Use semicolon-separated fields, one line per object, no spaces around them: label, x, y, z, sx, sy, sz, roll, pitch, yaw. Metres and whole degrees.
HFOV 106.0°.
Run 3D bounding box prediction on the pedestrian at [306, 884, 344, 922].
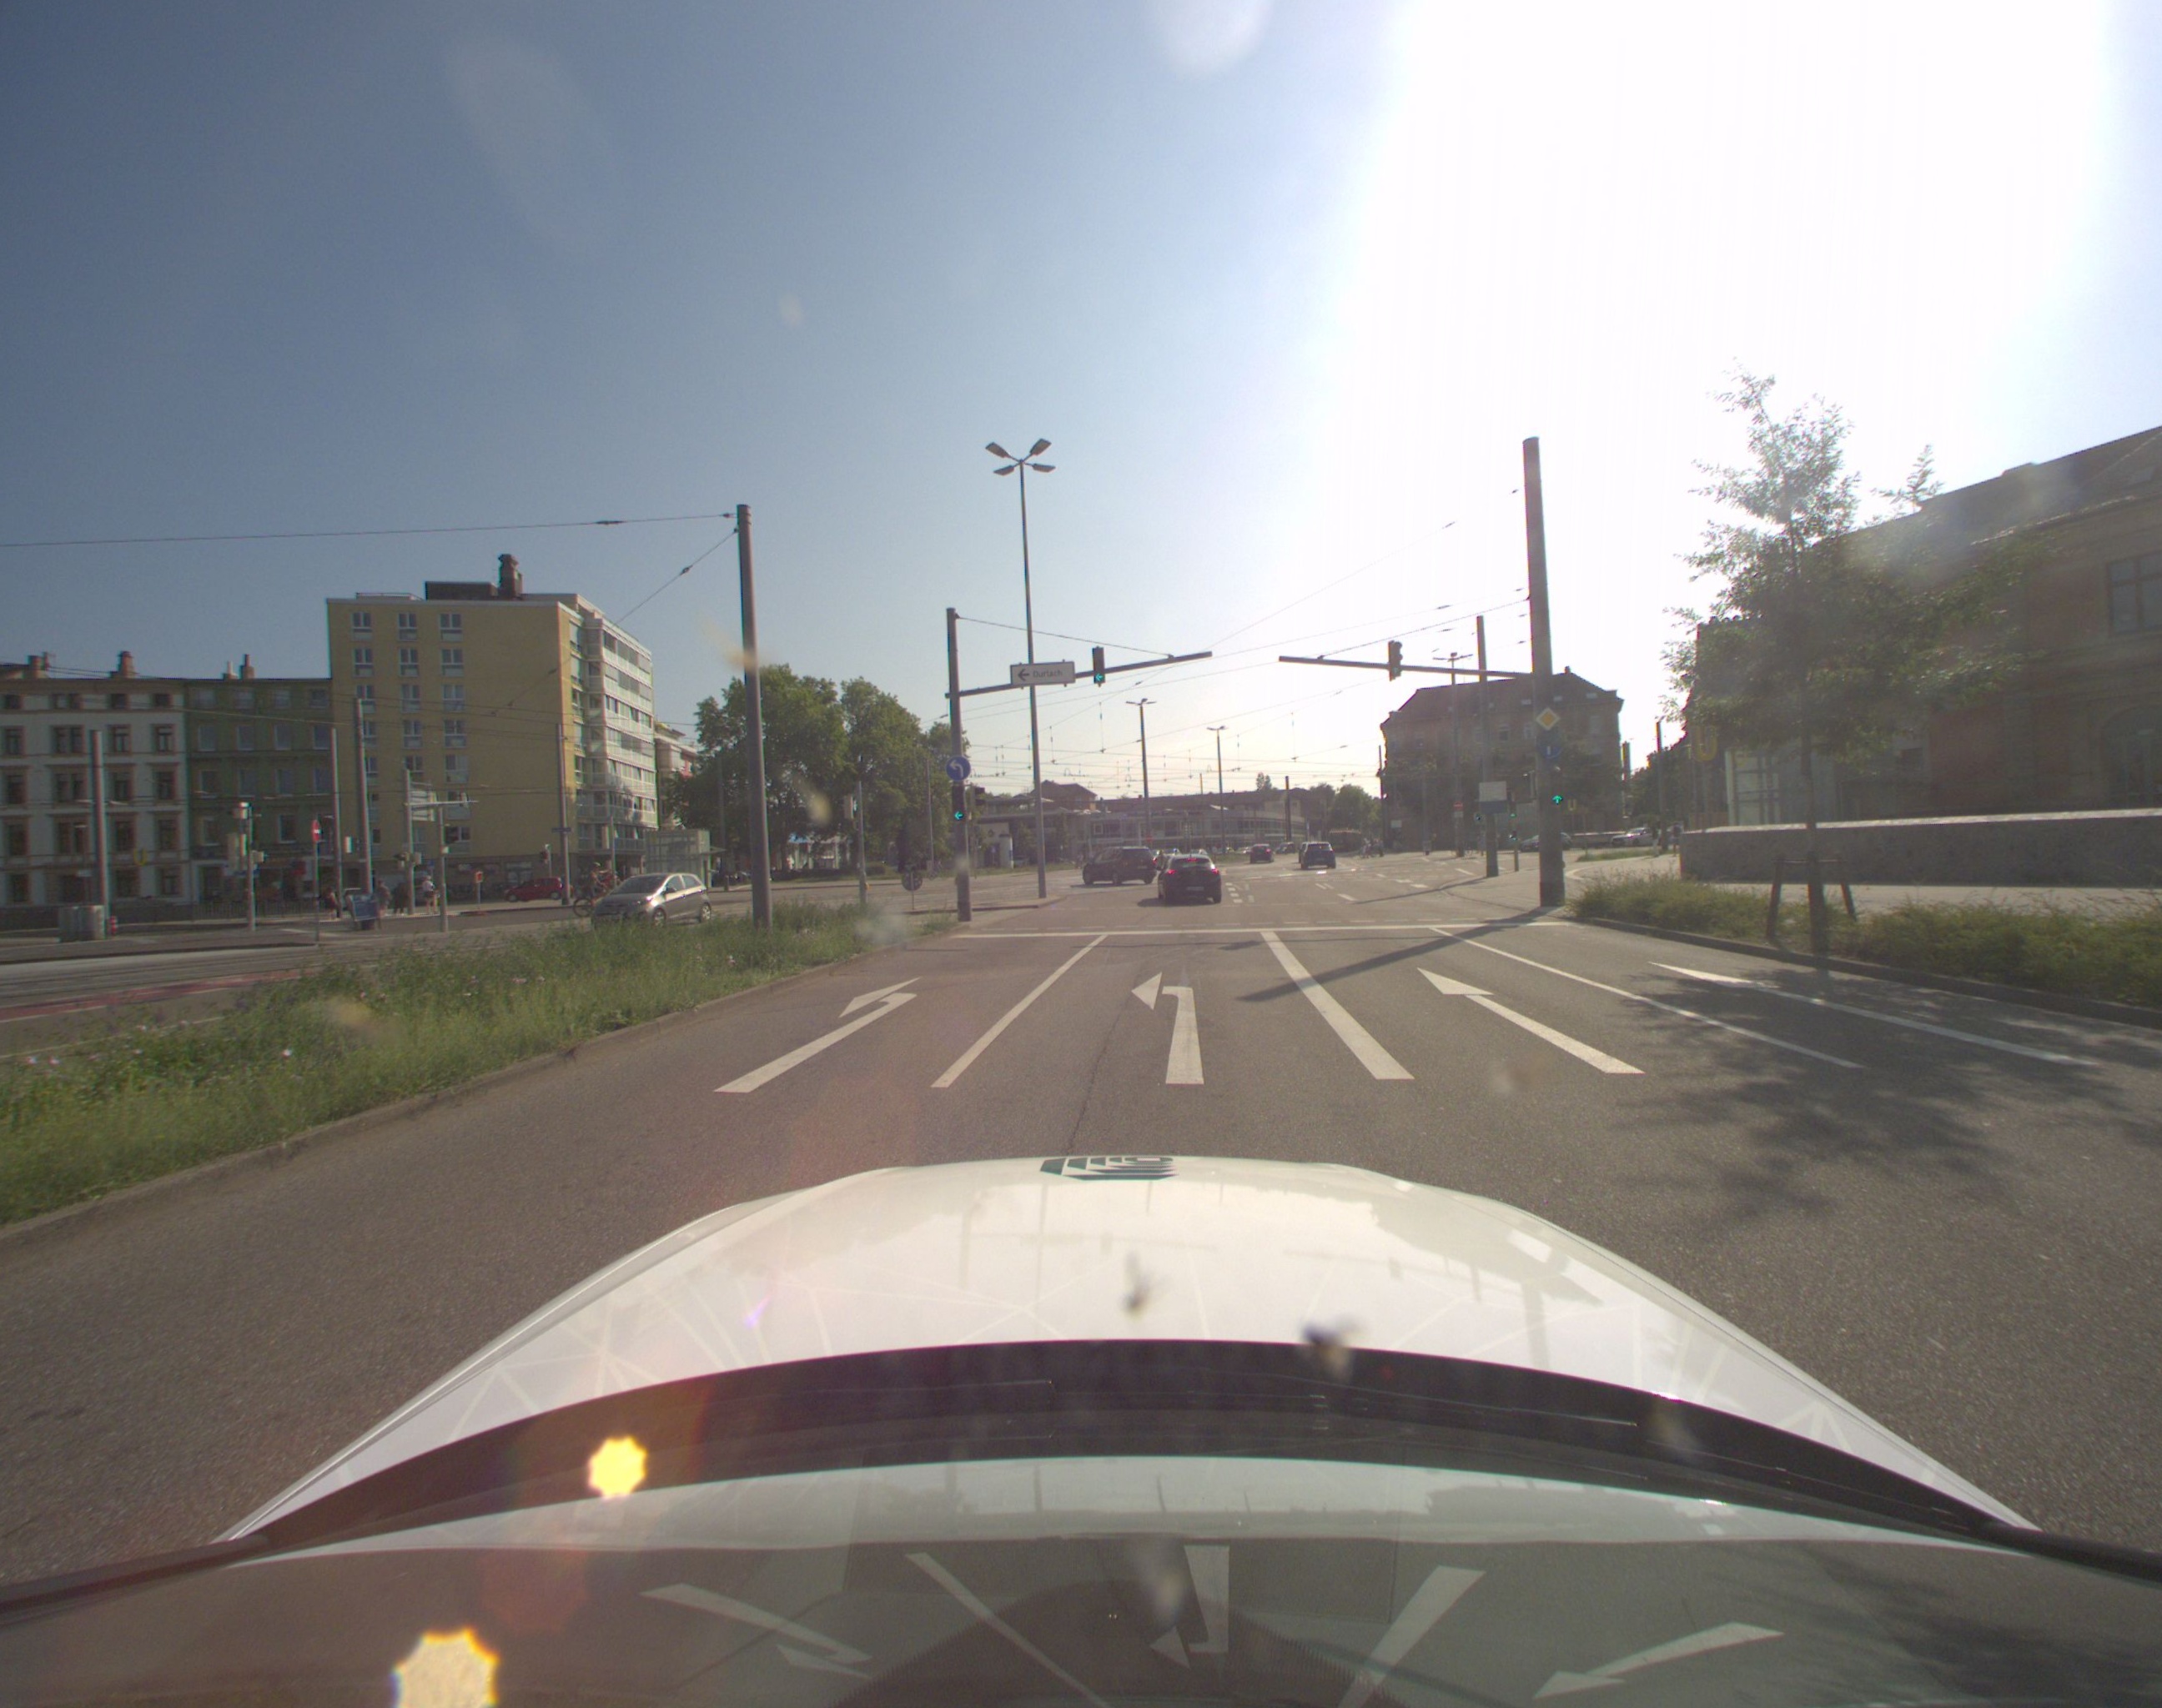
pedestrian;-35.119;2.258;37.847;0.922;1.690;0.919;-2;0;-11

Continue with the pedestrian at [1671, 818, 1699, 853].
pedestrian;30.105;-0.905;40.591;0.930;1.690;0.911;-2;0;-43

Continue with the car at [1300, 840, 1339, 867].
car;13.844;-0.041;47.502;1.813;1.428;4.427;-3;0;12

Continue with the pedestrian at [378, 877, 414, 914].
pedestrian;-32.741;1.975;38.925;0.922;1.690;0.919;-2;0;-11

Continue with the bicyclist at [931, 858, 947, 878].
bicyclist;-11.383;1.112;65.247;1.162;1.527;0.958;-3;0;-8

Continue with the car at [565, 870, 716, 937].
car;-11.617;1.252;21.792;1.881;1.451;3.677;-3;0;2

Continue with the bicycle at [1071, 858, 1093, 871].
bicycle;0.112;0.935;73.901;0.949;1.057;2.622;-2;0;23

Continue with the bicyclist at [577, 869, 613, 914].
bicyclist;-17.419;1.325;29.188;0.793;1.527;0.725;-2;0;-5

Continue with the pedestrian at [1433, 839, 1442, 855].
pedestrian;34.495;-0.686;78.785;0.671;1.471;0.540;-2;0;-38

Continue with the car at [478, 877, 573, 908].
car;-33.891;2.308;49.846;4.416;1.535;1.818;-3;0;-22

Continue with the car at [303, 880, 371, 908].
car;-48.071;2.574;52.618;4.491;1.678;2.013;-2;0;31

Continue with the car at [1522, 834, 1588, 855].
car;36.113;-0.711;62.087;4.390;1.397;2.009;-2;0;-21

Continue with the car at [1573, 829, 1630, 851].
car;47.551;-1.299;74.414;4.262;1.859;1.924;-2;0;-11

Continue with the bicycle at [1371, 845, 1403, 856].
bicycle;28.231;-0.328;75.145;2.625;0.964;1.087;-3;0;-18

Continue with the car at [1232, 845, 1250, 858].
car;21.910;-0.354;111.353;1.600;1.475;4.022;-5;-1;23

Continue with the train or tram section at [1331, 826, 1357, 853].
train or tram section;37.836;-2.123;117.045;2.631;3.699;10.647;-3;0;22

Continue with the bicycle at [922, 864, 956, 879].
bicycle;-11.344;1.363;65.255;2.598;1.057;0.958;-3;0;-8

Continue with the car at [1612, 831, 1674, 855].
car;47.690;-0.930;69.159;4.667;1.859;2.031;-2;0;-21

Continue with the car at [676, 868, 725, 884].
car;-37.923;2.154;81.252;4.160;1.354;1.571;-2;0;-12

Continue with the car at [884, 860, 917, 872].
car;-25.809;1.739;116.752;1.683;1.522;4.544;-2;0;38

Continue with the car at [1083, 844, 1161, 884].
car;1.815;0.451;37.789;1.834;1.714;4.377;-2;0;-23

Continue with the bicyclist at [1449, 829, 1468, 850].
bicyclist;31.382;-1.209;67.696;0.940;1.708;1.082;-2;0;-30

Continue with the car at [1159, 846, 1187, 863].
car;9.185;0.056;81.090;1.600;1.475;4.022;-5;-1;22

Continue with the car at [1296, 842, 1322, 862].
car;17.843;-0.182;63.768;1.812;1.428;4.430;-3;0;15

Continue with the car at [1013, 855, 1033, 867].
car;-8.060;1.001;113.608;1.688;1.522;4.112;-2;0;11

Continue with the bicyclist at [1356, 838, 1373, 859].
bicyclist;25.729;-0.489;73.832;0.936;1.799;1.087;-2;0;-17

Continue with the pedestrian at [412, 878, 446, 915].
pedestrian;-31.314;2.021;39.121;0.922;1.690;0.919;-2;0;-11

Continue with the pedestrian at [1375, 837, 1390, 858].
pedestrian;26.885;-0.570;72.652;0.932;1.797;0.851;-3;0;-34

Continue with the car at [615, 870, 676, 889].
car;-36.288;2.084;67.984;4.160;1.354;1.475;-2;0;-12

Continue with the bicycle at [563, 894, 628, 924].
bicycle;-17.391;1.954;29.188;1.810;0.932;0.725;-3;0;-5

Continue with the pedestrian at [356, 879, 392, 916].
pedestrian;-33.841;2.093;39.007;0.922;1.690;0.919;-2;0;-11

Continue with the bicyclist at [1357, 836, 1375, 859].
bicyclist;25.035;-0.578;71.601;0.940;2.024;1.082;-2;0;-30

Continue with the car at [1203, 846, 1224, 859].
car;17.064;-0.180;104.623;1.600;1.475;4.022;-5;-1;23

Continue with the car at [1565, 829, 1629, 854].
car;42.741;-1.009;67.477;4.709;1.859;1.898;-2;0;-19

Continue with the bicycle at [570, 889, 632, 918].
bicycle;-17.816;1.824;30.266;1.810;0.932;0.725;-3;0;-5

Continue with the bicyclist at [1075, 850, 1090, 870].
bicyclist;0.114;0.575;73.934;0.949;1.748;1.173;-2;0;23

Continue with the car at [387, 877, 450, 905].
car;-43.306;2.392;53.199;4.491;1.678;2.013;-2;0;35

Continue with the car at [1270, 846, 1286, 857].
car;30.085;-0.335;124.394;1.600;1.475;4.022;-5;-1;23

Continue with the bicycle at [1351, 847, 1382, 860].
bicycle;25.098;-0.036;71.620;2.635;0.964;1.082;-3;0;-31

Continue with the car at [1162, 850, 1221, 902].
car;3.419;0.642;25.707;1.674;1.492;4.379;0;0;5

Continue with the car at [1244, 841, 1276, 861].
car;15.454;-0.276;70.198;1.809;1.535;4.437;-3;0;23

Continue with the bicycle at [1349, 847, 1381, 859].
bicycle;25.762;-0.068;73.840;2.625;0.964;1.087;-3;0;-18

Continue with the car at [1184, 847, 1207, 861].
car;13.775;0.006;97.639;1.600;1.475;4.022;-5;-1;23

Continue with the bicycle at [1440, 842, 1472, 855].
bicycle;31.137;-0.439;67.529;2.635;0.964;1.082;-2;-1;-31

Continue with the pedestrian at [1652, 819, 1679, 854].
pedestrian;28.945;-0.859;40.330;0.911;1.690;0.842;-2;0;44

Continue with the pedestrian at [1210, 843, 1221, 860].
pedestrian;11.992;-0.236;72.772;0.771;1.503;0.714;-3;0;19

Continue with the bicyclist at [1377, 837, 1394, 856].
bicyclist;28.032;-0.686;75.080;0.936;1.680;1.087;-2;0;-17

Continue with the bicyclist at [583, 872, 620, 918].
bicyclist;-17.818;1.507;30.264;0.880;1.652;0.725;-2;0;-5
